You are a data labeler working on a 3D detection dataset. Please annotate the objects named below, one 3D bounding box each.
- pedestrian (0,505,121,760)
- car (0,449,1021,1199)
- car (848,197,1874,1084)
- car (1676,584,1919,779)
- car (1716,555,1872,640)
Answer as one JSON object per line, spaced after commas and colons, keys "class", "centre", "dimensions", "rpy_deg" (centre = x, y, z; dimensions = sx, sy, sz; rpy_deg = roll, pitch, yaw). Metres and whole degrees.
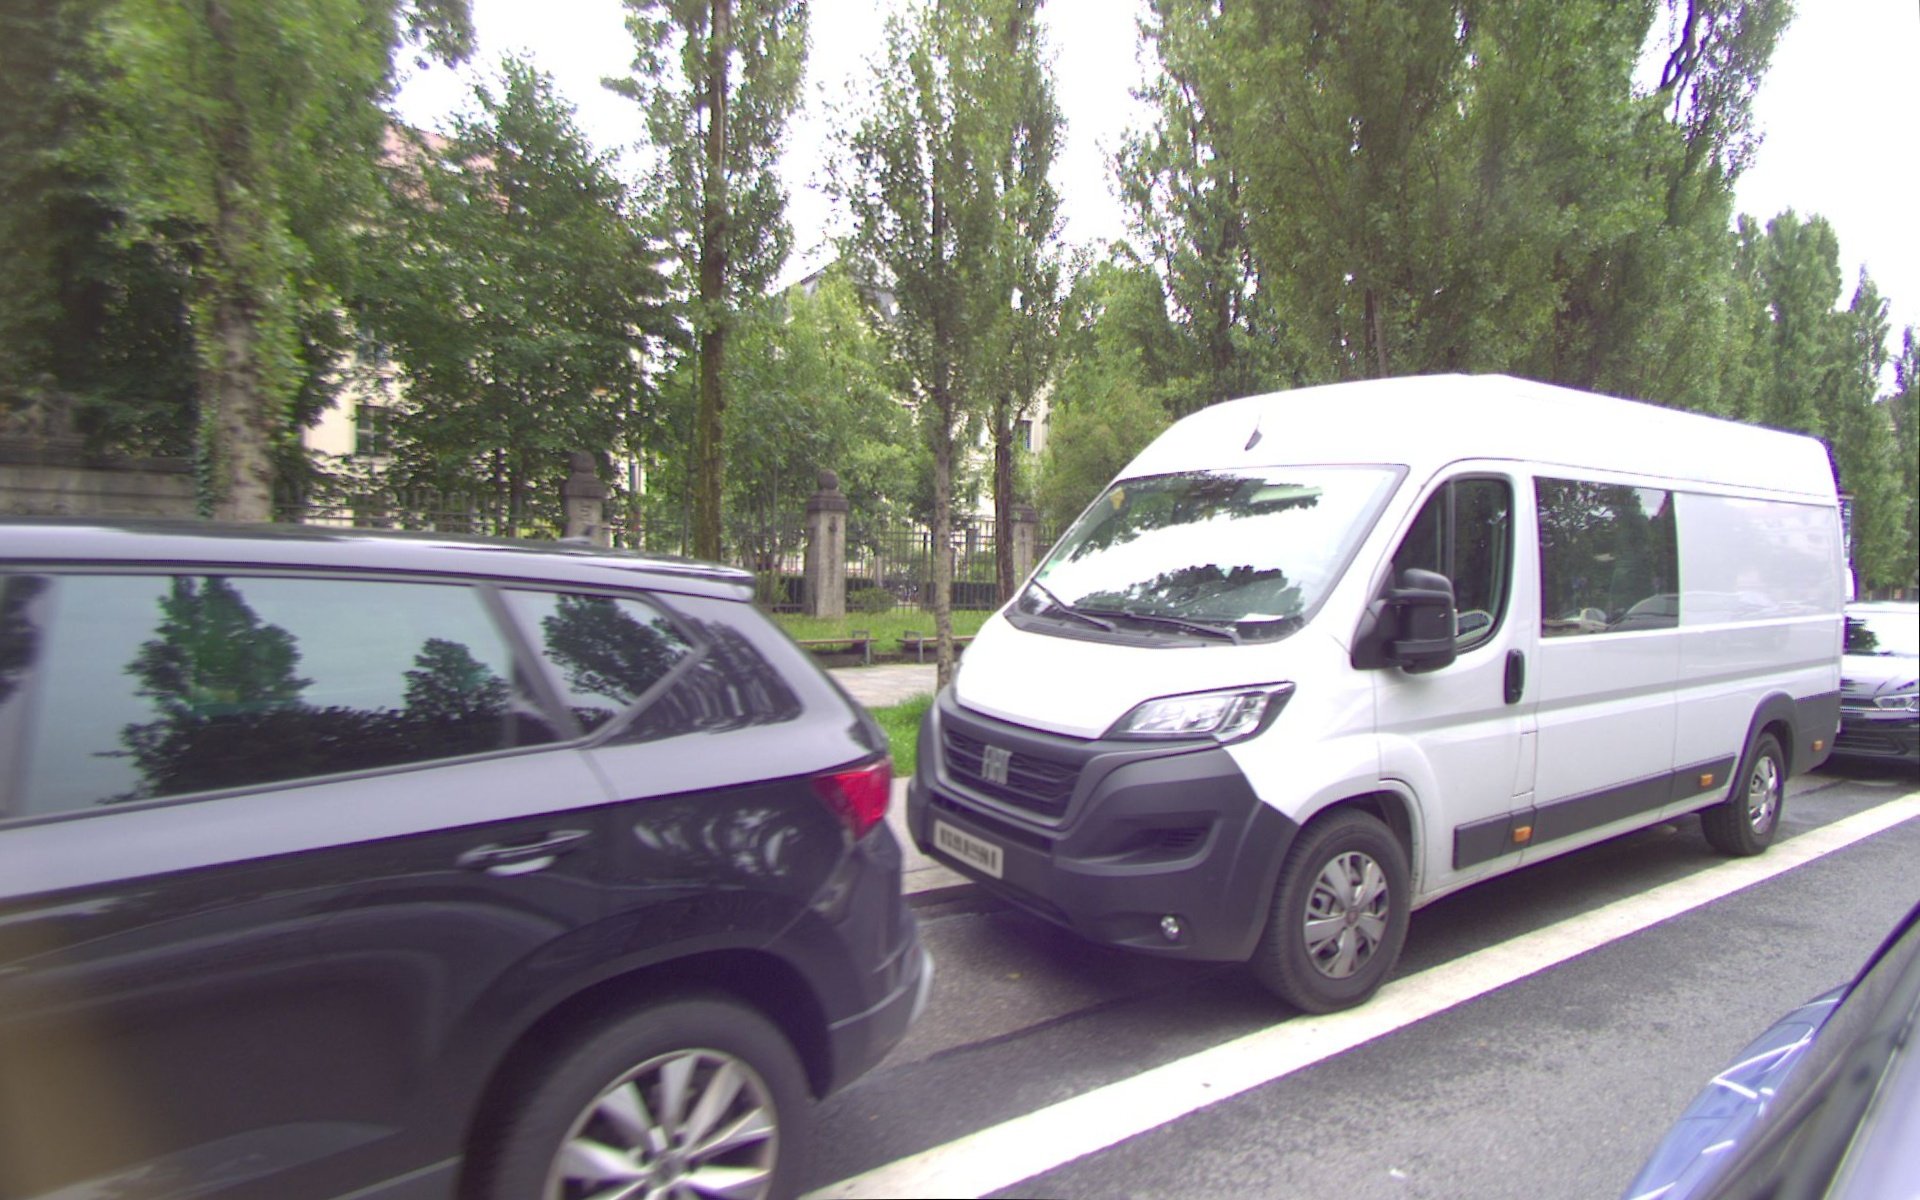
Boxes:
{"class": "pedestrian", "centre": [-6.341, 0.207, 7.107], "dimensions": [0.621, 1.680, 0.717], "rpy_deg": [0, 0, -34]}
{"class": "car", "centre": [-2.078, 0.595, 1.894], "dimensions": [4.142, 1.610, 1.827], "rpy_deg": [0, 1, -34]}
{"class": "car", "centre": [2.613, 0.096, 5.471], "dimensions": [6.163, 2.510, 2.081], "rpy_deg": [0, 0, -34]}
{"class": "car", "centre": [8.482, 0.623, 9.367], "dimensions": [3.923, 1.468, 1.760], "rpy_deg": [0, -1, -34]}
{"class": "car", "centre": [21.243, -0.059, 25.714], "dimensions": [4.792, 1.969, 1.886], "rpy_deg": [0, 0, -35]}
